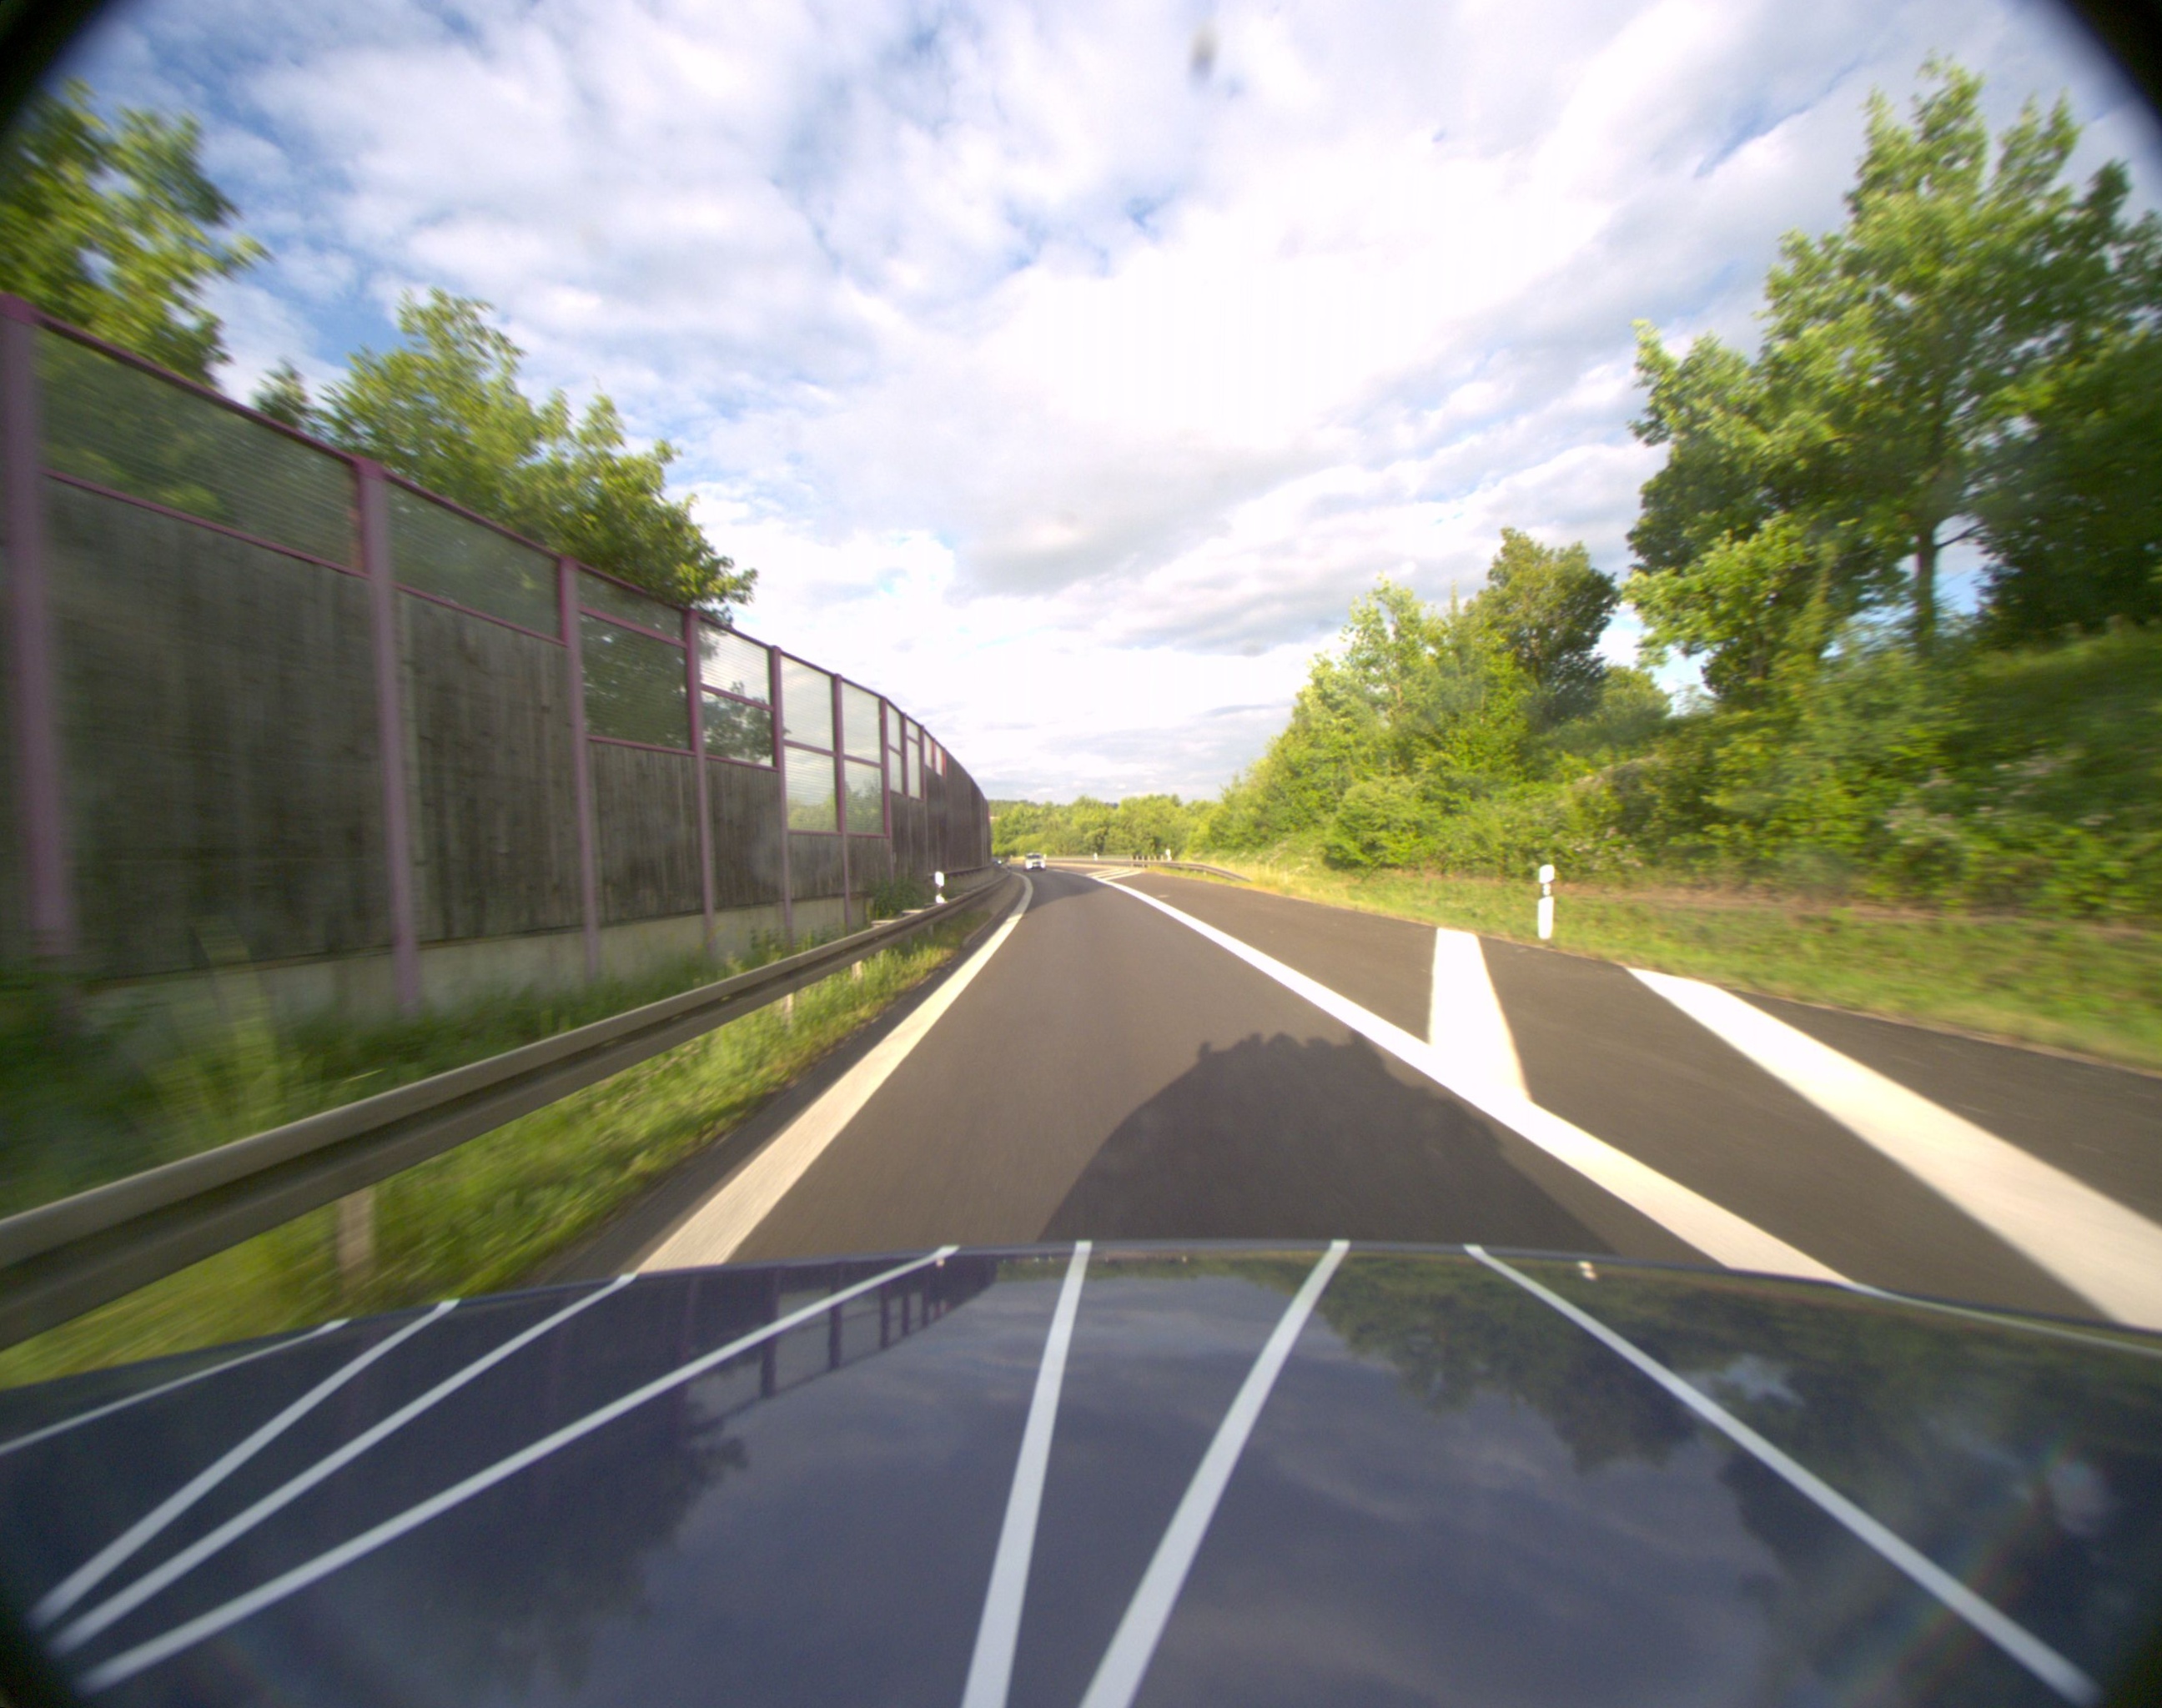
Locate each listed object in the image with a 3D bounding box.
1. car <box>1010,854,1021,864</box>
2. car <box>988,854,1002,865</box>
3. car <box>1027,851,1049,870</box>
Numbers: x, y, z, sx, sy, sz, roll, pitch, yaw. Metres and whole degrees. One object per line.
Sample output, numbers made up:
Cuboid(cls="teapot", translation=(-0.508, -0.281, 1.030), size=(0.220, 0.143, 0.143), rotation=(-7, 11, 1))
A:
Cuboid(cls="car", translation=(-10.011, 0.753, 116.172), size=(1.620, 1.452, 3.660), rotation=(-4, 2, -5))
Cuboid(cls="car", translation=(-13.048, 0.836, 115.431), size=(1.808, 1.707, 3.997), rotation=(-2, 0, -9))
Cuboid(cls="car", translation=(-4.189, 0.629, 73.761), size=(1.905, 1.655, 3.999), rotation=(-3, 0, -1))
